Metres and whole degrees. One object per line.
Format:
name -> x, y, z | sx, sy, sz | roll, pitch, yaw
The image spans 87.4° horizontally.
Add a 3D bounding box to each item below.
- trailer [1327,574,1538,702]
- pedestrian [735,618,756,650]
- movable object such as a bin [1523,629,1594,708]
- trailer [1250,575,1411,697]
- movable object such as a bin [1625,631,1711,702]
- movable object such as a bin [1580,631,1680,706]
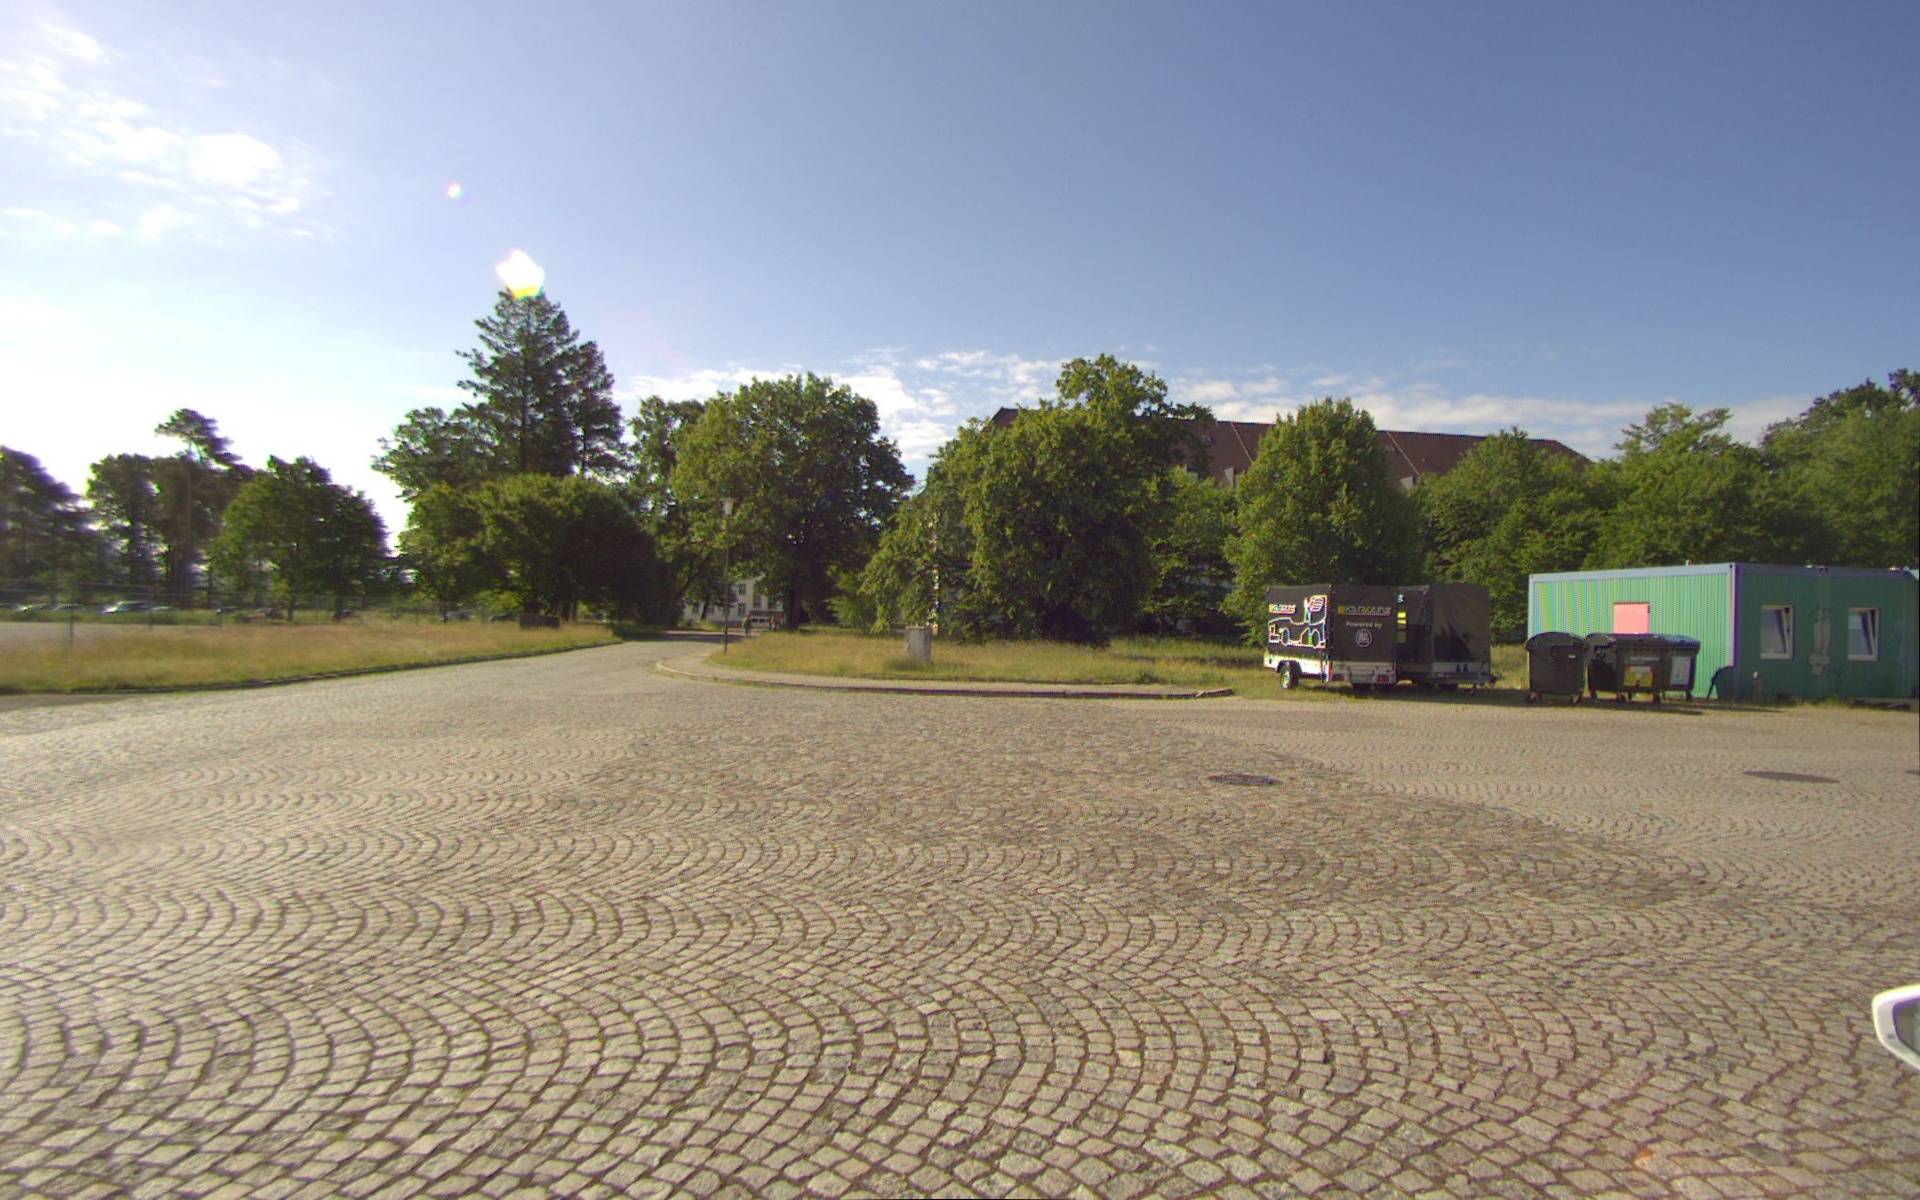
trailer -> 10.643, 0.806, 23.104 | 1.918, 2.602, 4.640 | 2, 0, -12
pedestrian -> -13.360, 2.126, 62.622 | 1.139, 1.954, 1.126 | 2, 0, -7
movable object such as a bin -> 12.165, 1.353, 20.397 | 1.136, 1.477, 1.434 | 2, 0, 34
trailer -> 8.264, 0.770, 22.745 | 2.007, 2.502, 3.391 | 2, 0, -8
movable object such as a bin -> 15.657, 1.465, 22.227 | 1.418, 1.477, 0.881 | 2, 0, -20
movable object such as a bin -> 14.139, 1.429, 21.219 | 1.414, 1.477, 1.019 | 2, 0, -9
